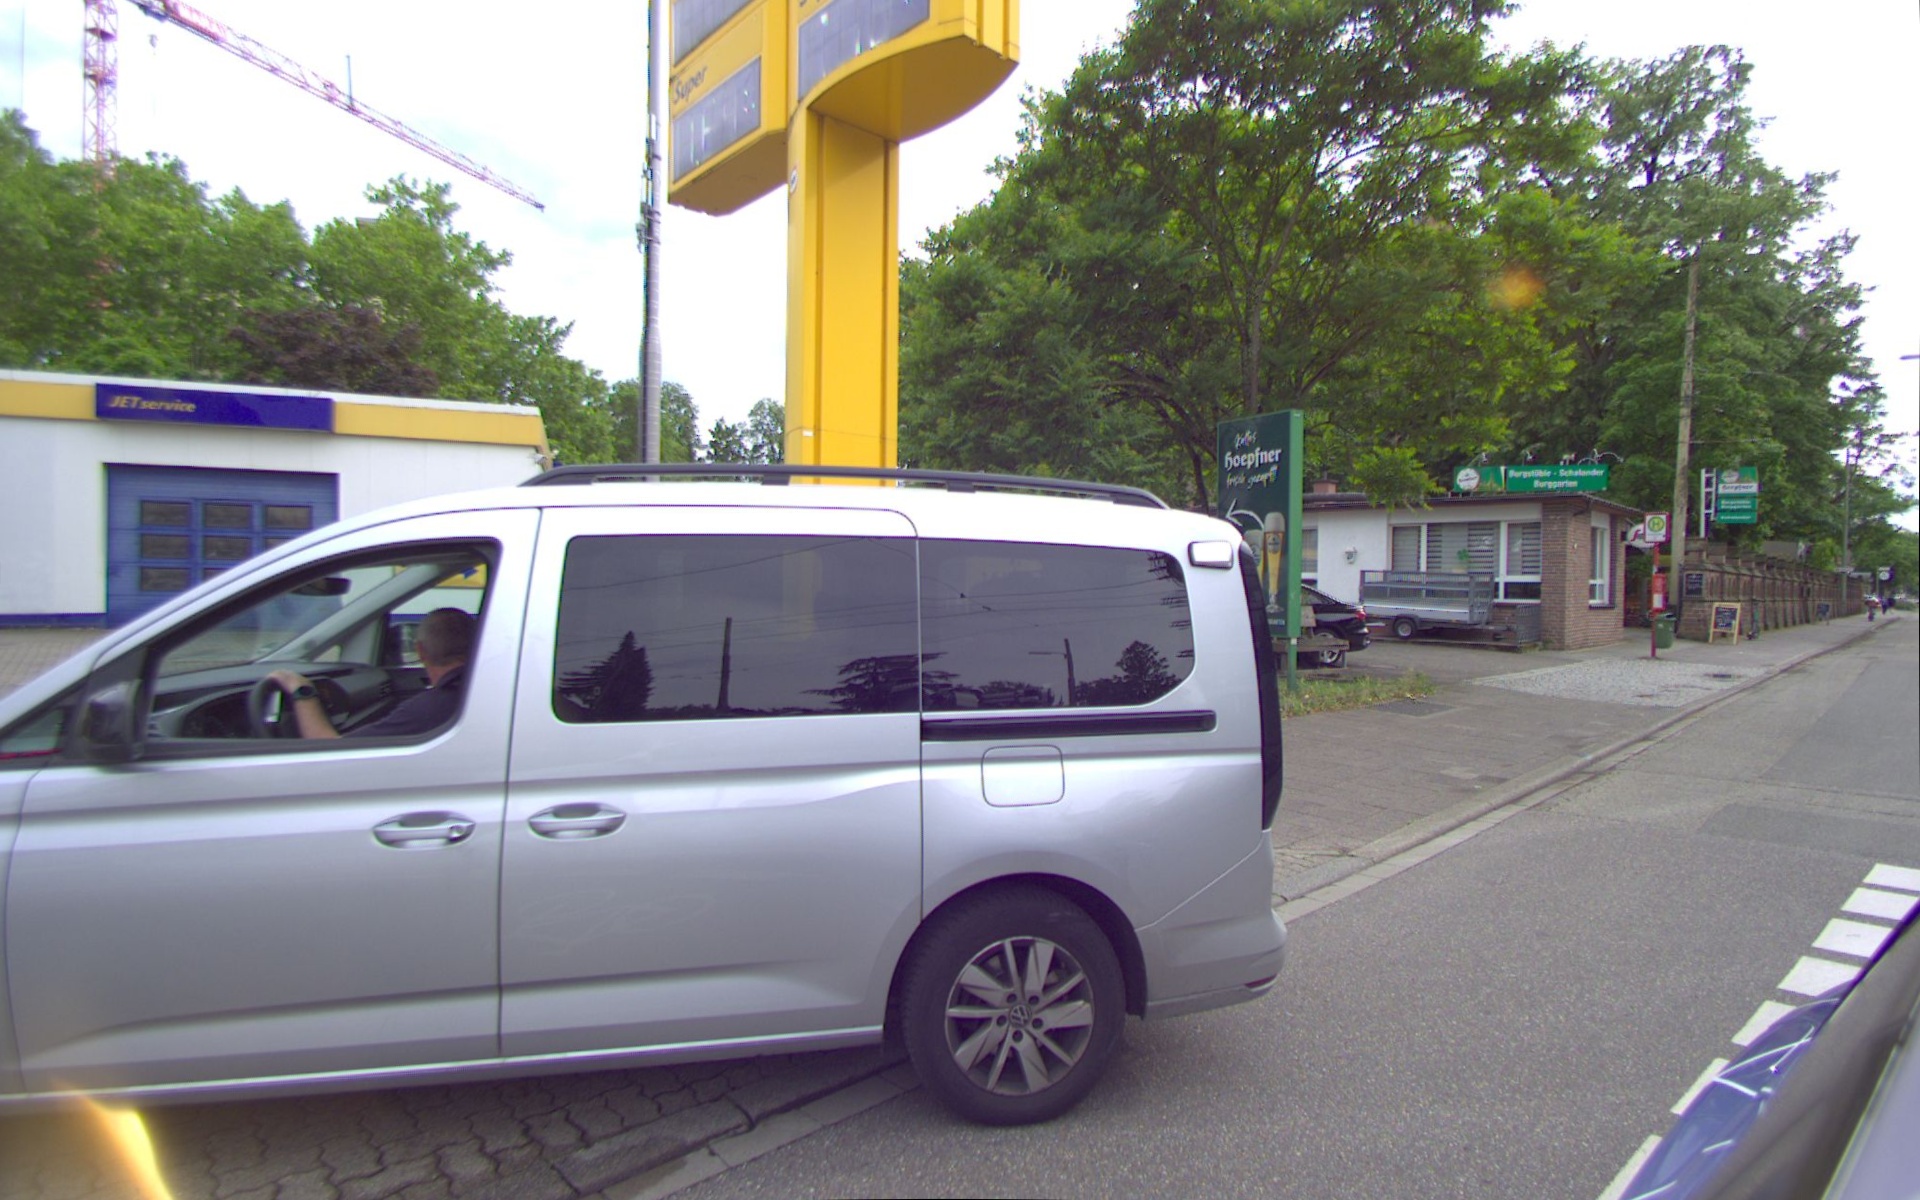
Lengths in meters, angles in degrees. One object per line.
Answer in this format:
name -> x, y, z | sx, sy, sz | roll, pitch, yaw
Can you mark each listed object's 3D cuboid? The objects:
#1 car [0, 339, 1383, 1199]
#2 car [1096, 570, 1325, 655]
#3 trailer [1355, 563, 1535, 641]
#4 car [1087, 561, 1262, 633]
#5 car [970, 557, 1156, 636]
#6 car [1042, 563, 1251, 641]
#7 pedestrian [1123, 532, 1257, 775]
car -> -1.255, 0.367, 3.324 | 4.433, 1.865, 1.992 | 2, 2, -11
car -> 4.422, 0.163, 17.653 | 3.930, 1.304, 1.997 | -1, 1, -41
trailer -> 10.984, -0.028, 23.032 | 1.745, 1.549, 3.286 | -3, 5, -43
car -> 5.424, -0.081, 25.932 | 1.967, 1.688, 3.990 | -1, 1, -44
car -> 2.312, -0.096, 23.391 | 3.943, 1.717, 1.815 | 0, 0, -8
car -> 3.802, 0.030, 21.069 | 3.921, 1.536, 1.828 | 0, 0, -4
pedestrian -> 1.833, 0.370, 8.007 | 0.859, 1.768, 0.845 | 3, 3, 20
